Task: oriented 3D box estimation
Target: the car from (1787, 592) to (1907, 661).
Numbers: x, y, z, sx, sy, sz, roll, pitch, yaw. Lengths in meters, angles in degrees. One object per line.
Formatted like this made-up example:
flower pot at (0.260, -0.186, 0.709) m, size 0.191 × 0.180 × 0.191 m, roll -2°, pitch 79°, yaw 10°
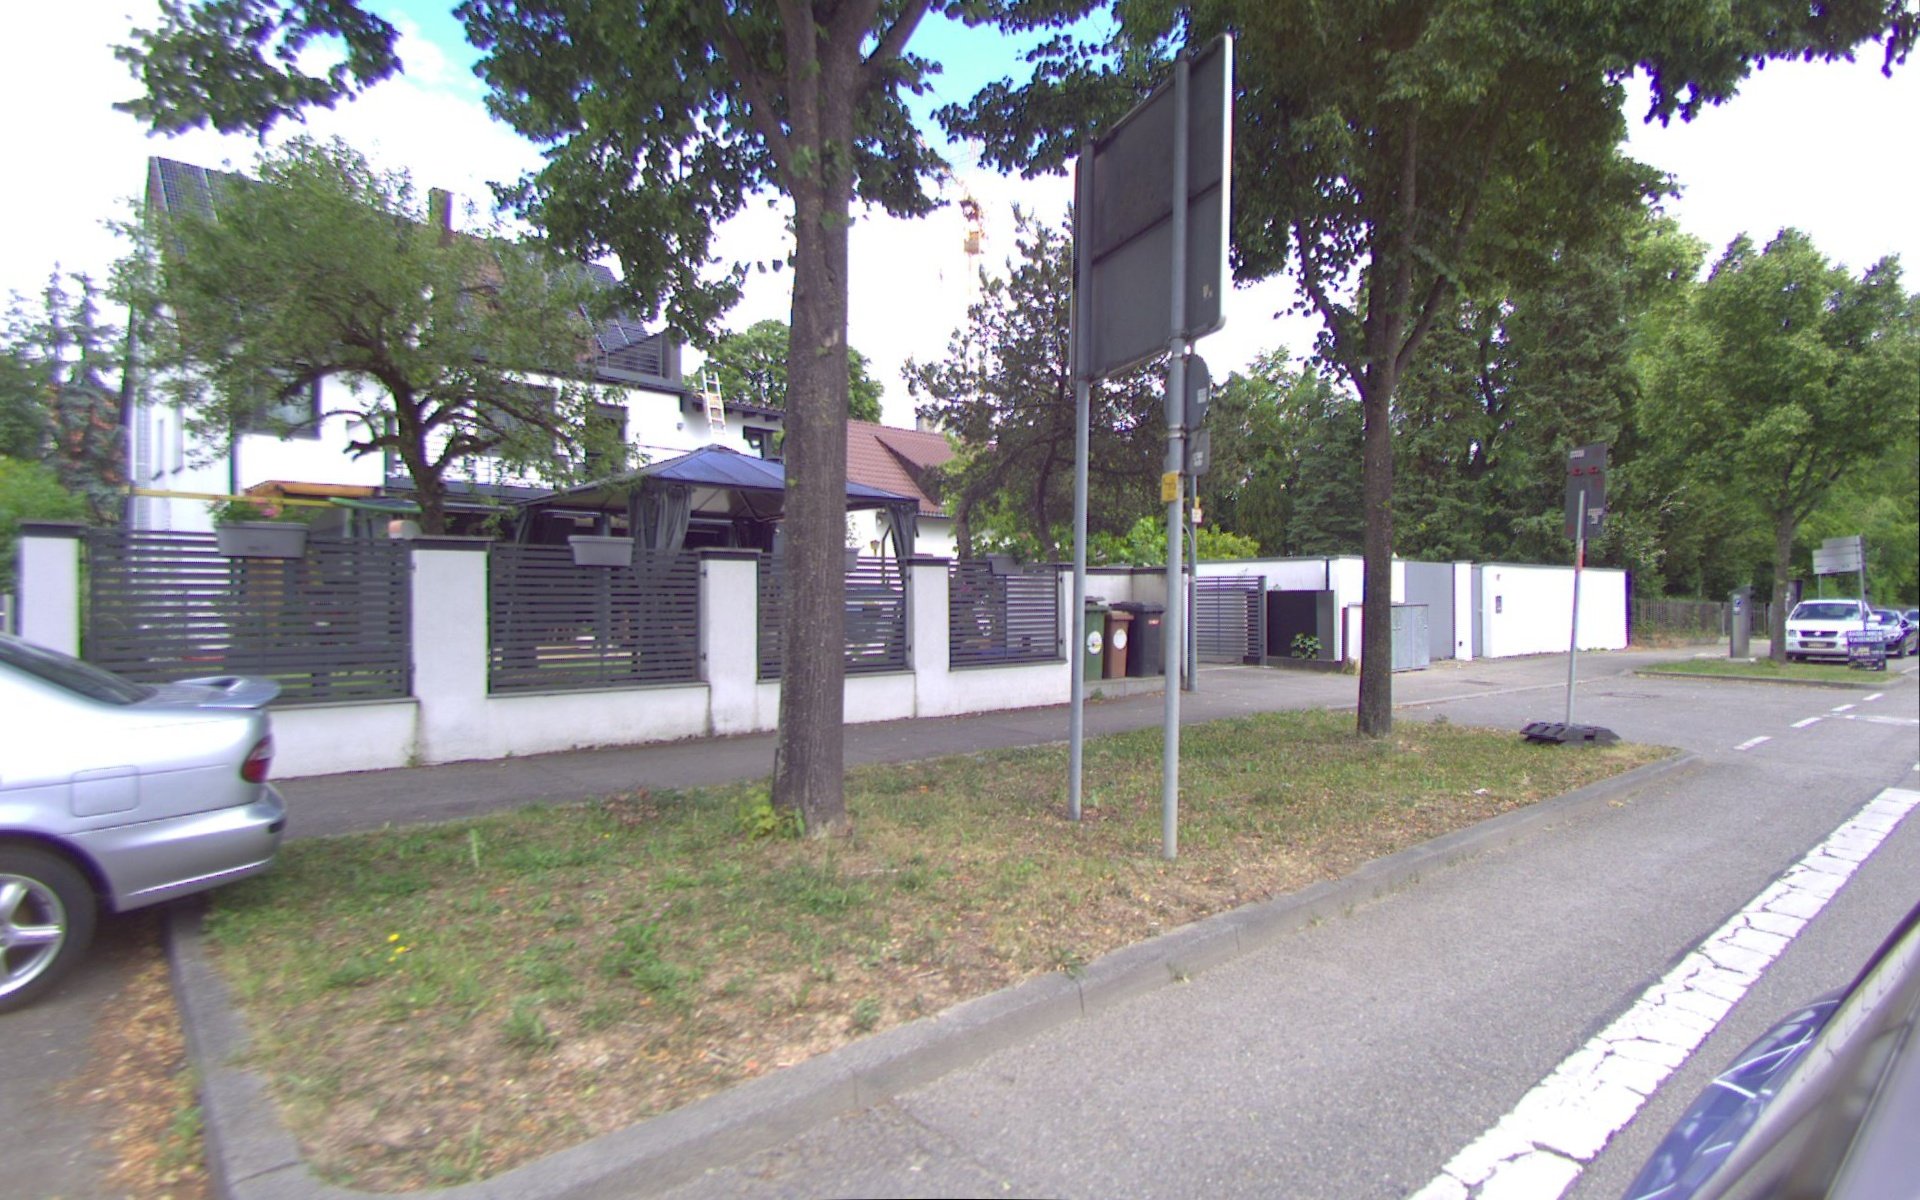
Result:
car at (23.314, 0.616, 26.559) m, size 4.046 × 1.663 × 1.903 m, roll -1°, pitch 0°, yaw -42°

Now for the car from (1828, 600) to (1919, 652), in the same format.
car at (27.706, 0.729, 30.277) m, size 4.519 × 1.435 × 1.867 m, roll 0°, pitch 0°, yaw -39°

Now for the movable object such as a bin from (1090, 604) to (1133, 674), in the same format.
movable object such as a bin at (2.086, 0.525, 13.930) m, size 0.388 × 0.932 × 0.437 m, roll 0°, pitch 0°, yaw -40°

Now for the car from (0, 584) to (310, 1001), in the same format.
car at (-4.717, 0.680, 3.180) m, size 4.311 × 1.394 × 1.614 m, roll -2°, pitch 1°, yaw -41°

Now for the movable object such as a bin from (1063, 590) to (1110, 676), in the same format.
movable object such as a bin at (1.698, 0.434, 13.580) m, size 0.446 × 1.123 × 0.437 m, roll 0°, pitch 0°, yaw -40°

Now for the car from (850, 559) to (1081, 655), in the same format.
car at (0.008, 0.130, 22.738) m, size 5.180 × 1.927 × 2.018 m, roll 0°, pitch 1°, yaw 42°

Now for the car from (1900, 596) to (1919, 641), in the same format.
car at (37.724, 0.676, 38.839) m, size 4.604 × 1.631 × 1.864 m, roll -1°, pitch -1°, yaw -41°

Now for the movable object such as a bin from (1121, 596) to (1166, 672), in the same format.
movable object such as a bin at (2.582, 0.464, 14.214) m, size 0.446 × 1.035 × 0.437 m, roll 0°, pitch 0°, yaw -40°
